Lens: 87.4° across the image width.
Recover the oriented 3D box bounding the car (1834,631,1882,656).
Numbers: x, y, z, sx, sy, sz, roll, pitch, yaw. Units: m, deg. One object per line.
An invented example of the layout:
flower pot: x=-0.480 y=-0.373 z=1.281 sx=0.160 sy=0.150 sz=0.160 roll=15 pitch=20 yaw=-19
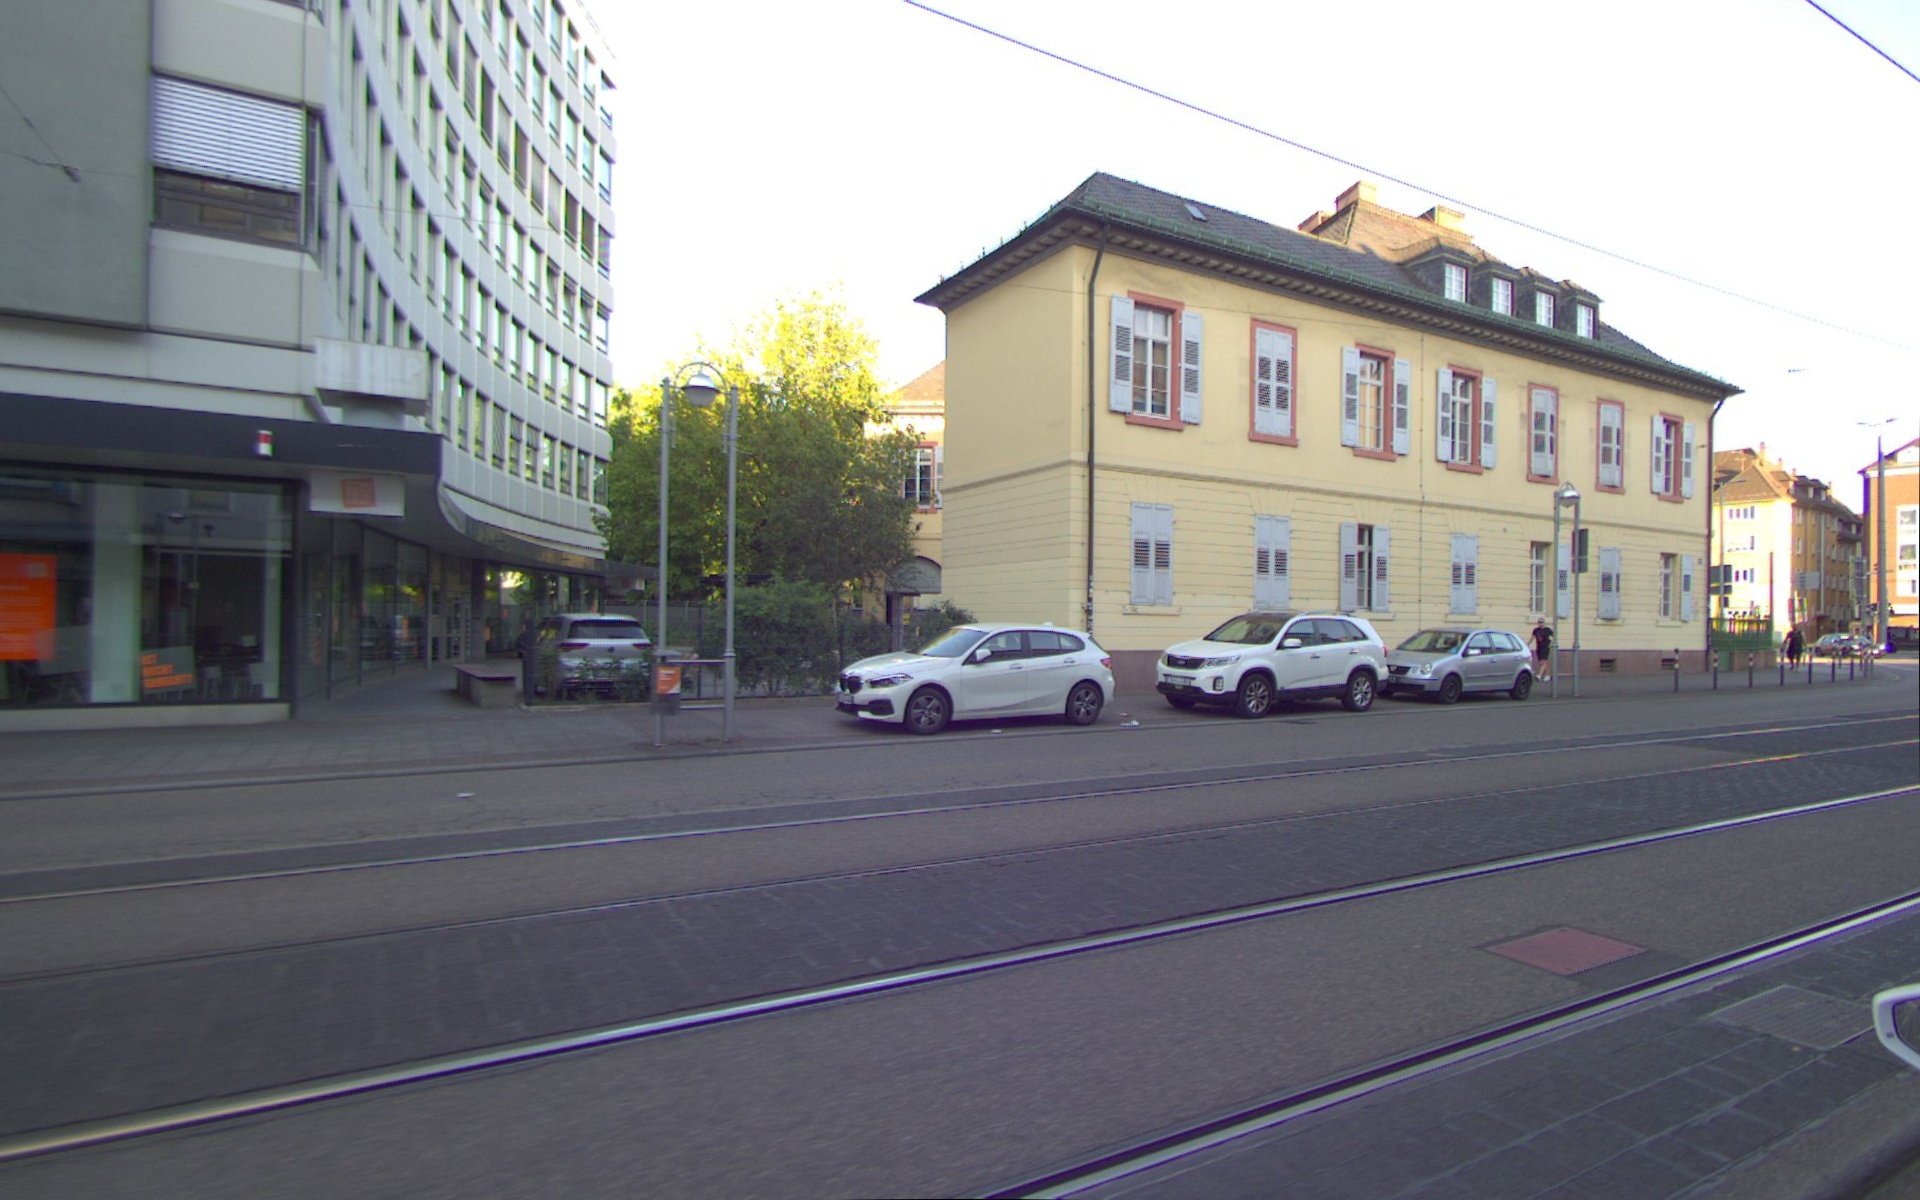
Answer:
car: x=52.645 y=2.510 z=58.938 sx=1.744 sy=1.394 sz=4.207 roll=0 pitch=-1 yaw=37

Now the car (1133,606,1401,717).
car: x=5.462 y=1.003 z=17.651 sx=4.708 sy=1.683 sz=1.876 roll=1 pitch=1 yaw=-32

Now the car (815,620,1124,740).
car: x=0.188 y=1.079 z=14.654 sx=4.234 sy=1.472 sz=1.712 roll=1 pitch=1 yaw=-31

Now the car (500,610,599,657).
car: x=-14.121 y=1.122 z=34.771 sx=1.708 sy=1.418 sz=4.000 roll=2 pitch=0 yaw=0

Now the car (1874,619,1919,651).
car: x=63.876 y=2.328 z=66.712 sx=1.985 sy=2.063 sz=4.519 roll=1 pitch=-1 yaw=-41

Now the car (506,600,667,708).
car: x=-6.648 y=0.860 z=17.615 sx=1.893 sy=1.574 sz=3.965 roll=2 pitch=0 yaw=-31

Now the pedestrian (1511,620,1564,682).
pedestrian: x=15.023 y=1.321 z=26.136 sx=0.866 sy=1.562 sz=0.796 roll=2 pitch=1 yaw=-28

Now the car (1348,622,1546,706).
car: x=9.995 y=1.241 z=20.558 sx=3.953 sy=1.494 sz=1.739 roll=1 pitch=1 yaw=-31

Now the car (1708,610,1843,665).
car: x=31.821 y=1.427 z=39.233 sx=3.946 sy=2.040 sz=1.988 roll=-1 pitch=-2 yaw=45

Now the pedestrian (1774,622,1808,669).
pedestrian: x=28.230 y=1.541 z=34.123 sx=0.712 sy=1.556 sz=0.715 roll=2 pitch=-1 yaw=-34
